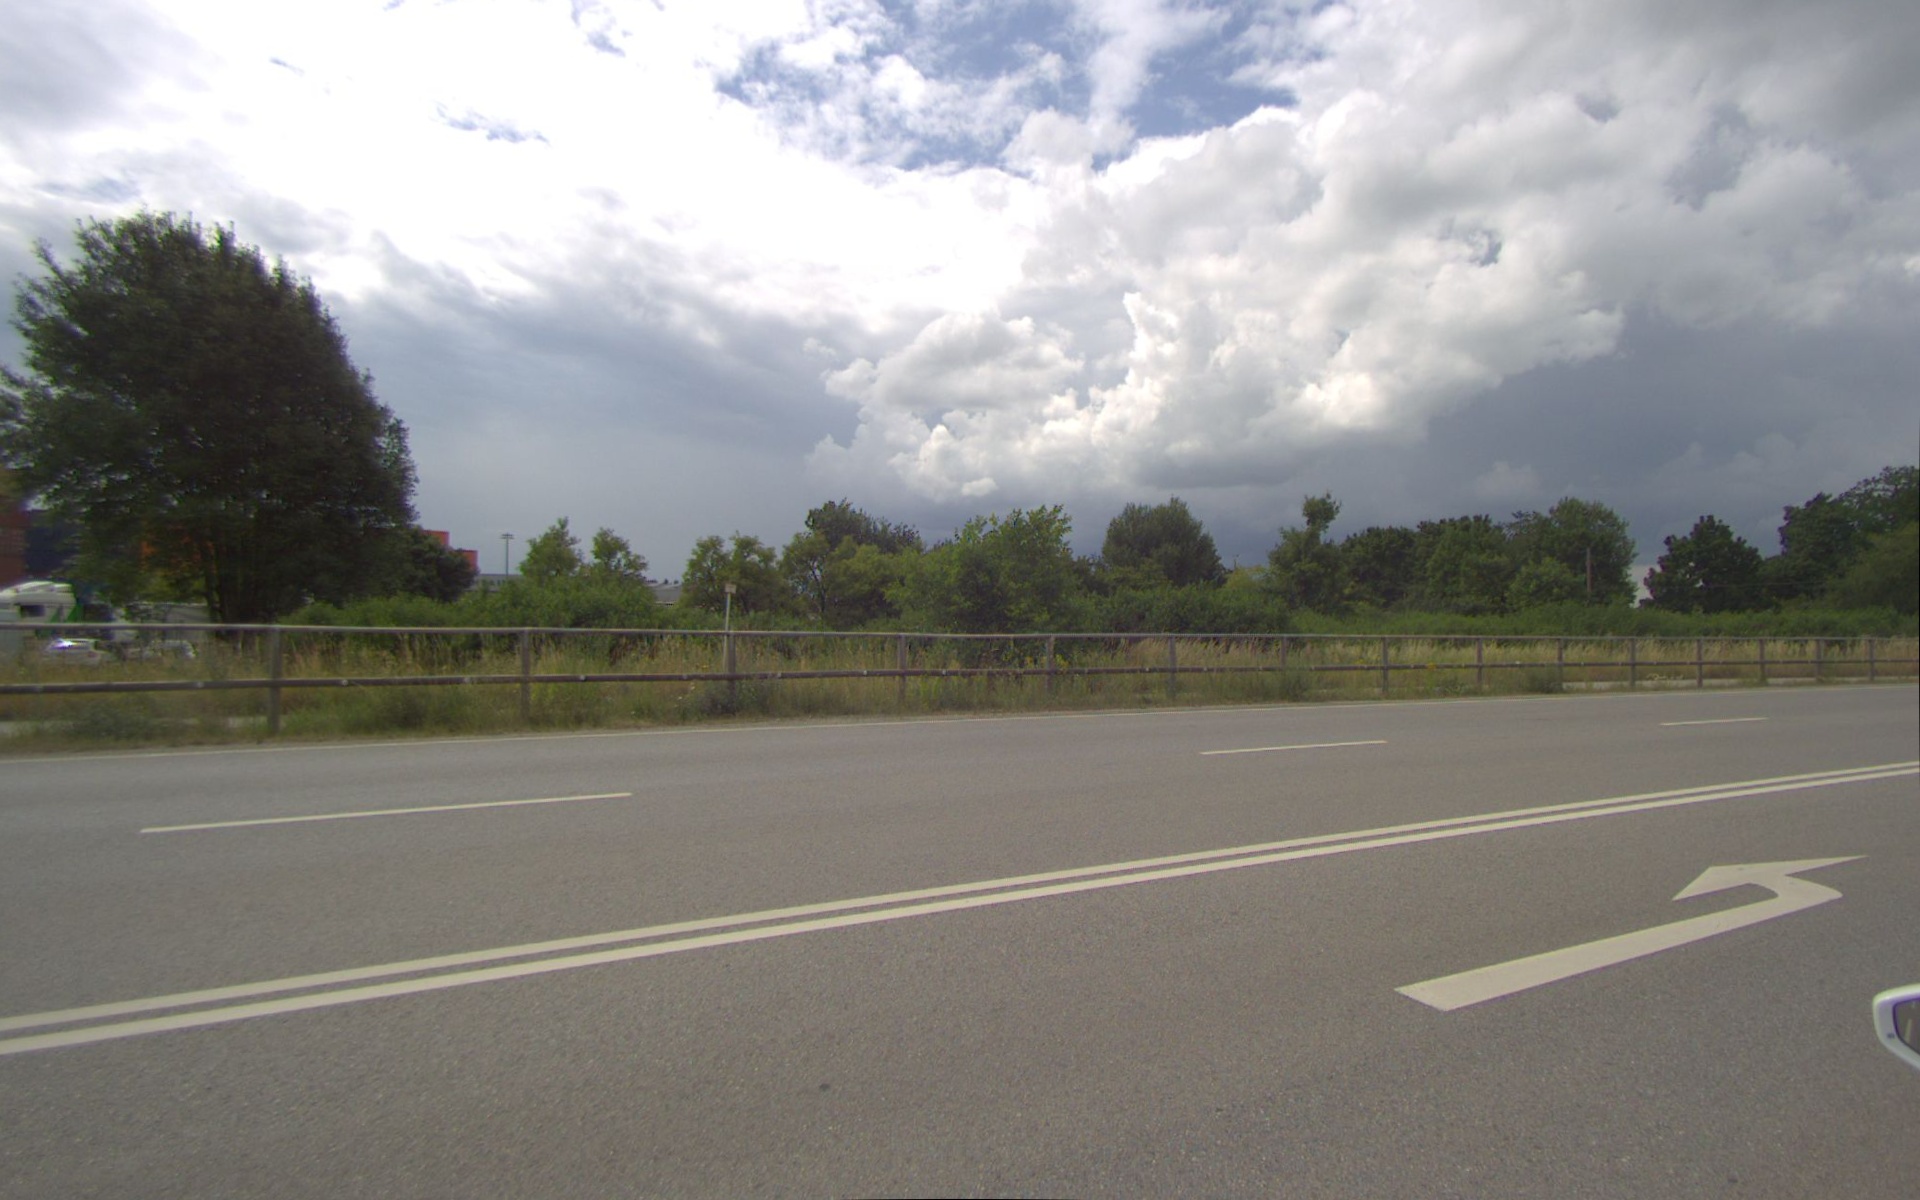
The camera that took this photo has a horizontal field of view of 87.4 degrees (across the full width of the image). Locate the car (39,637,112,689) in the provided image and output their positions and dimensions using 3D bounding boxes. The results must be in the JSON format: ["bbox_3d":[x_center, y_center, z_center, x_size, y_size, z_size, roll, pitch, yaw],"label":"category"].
[{"bbox_3d":[-33.722,2.344,38.403,1.828,1.742,3.956,2,-1,-38],"label":"car"}]

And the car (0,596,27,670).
[{"bbox_3d":[-25.682,0.771,25.664,4.513,1.758,1.992,2,0,38],"label":"car"}]

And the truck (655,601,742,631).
[{"bbox_3d":[-20.118,1.261,77.311,6.150,2.040,1.987,3,-1,-27],"label":"truck"}]

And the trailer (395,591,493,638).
[{"bbox_3d":[-31.043,0.912,60.442,5.017,2.695,1.981,2,-1,-35],"label":"trailer"}]

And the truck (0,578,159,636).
[{"bbox_3d":[-45.110,0.395,50.912,2.601,2.718,6.655,1,-1,21],"label":"truck"}]

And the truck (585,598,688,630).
[{"bbox_3d":[-24.207,1.059,75.253,7.041,2.040,1.987,3,-1,-27],"label":"truck"}]

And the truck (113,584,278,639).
[{"bbox_3d":[-40.593,0.635,53.638,2.600,2.718,6.656,1,-1,19],"label":"truck"}]

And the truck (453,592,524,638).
[{"bbox_3d":[-29.021,0.943,61.855,3.693,2.713,1.981,2,-1,-34],"label":"truck"}]
